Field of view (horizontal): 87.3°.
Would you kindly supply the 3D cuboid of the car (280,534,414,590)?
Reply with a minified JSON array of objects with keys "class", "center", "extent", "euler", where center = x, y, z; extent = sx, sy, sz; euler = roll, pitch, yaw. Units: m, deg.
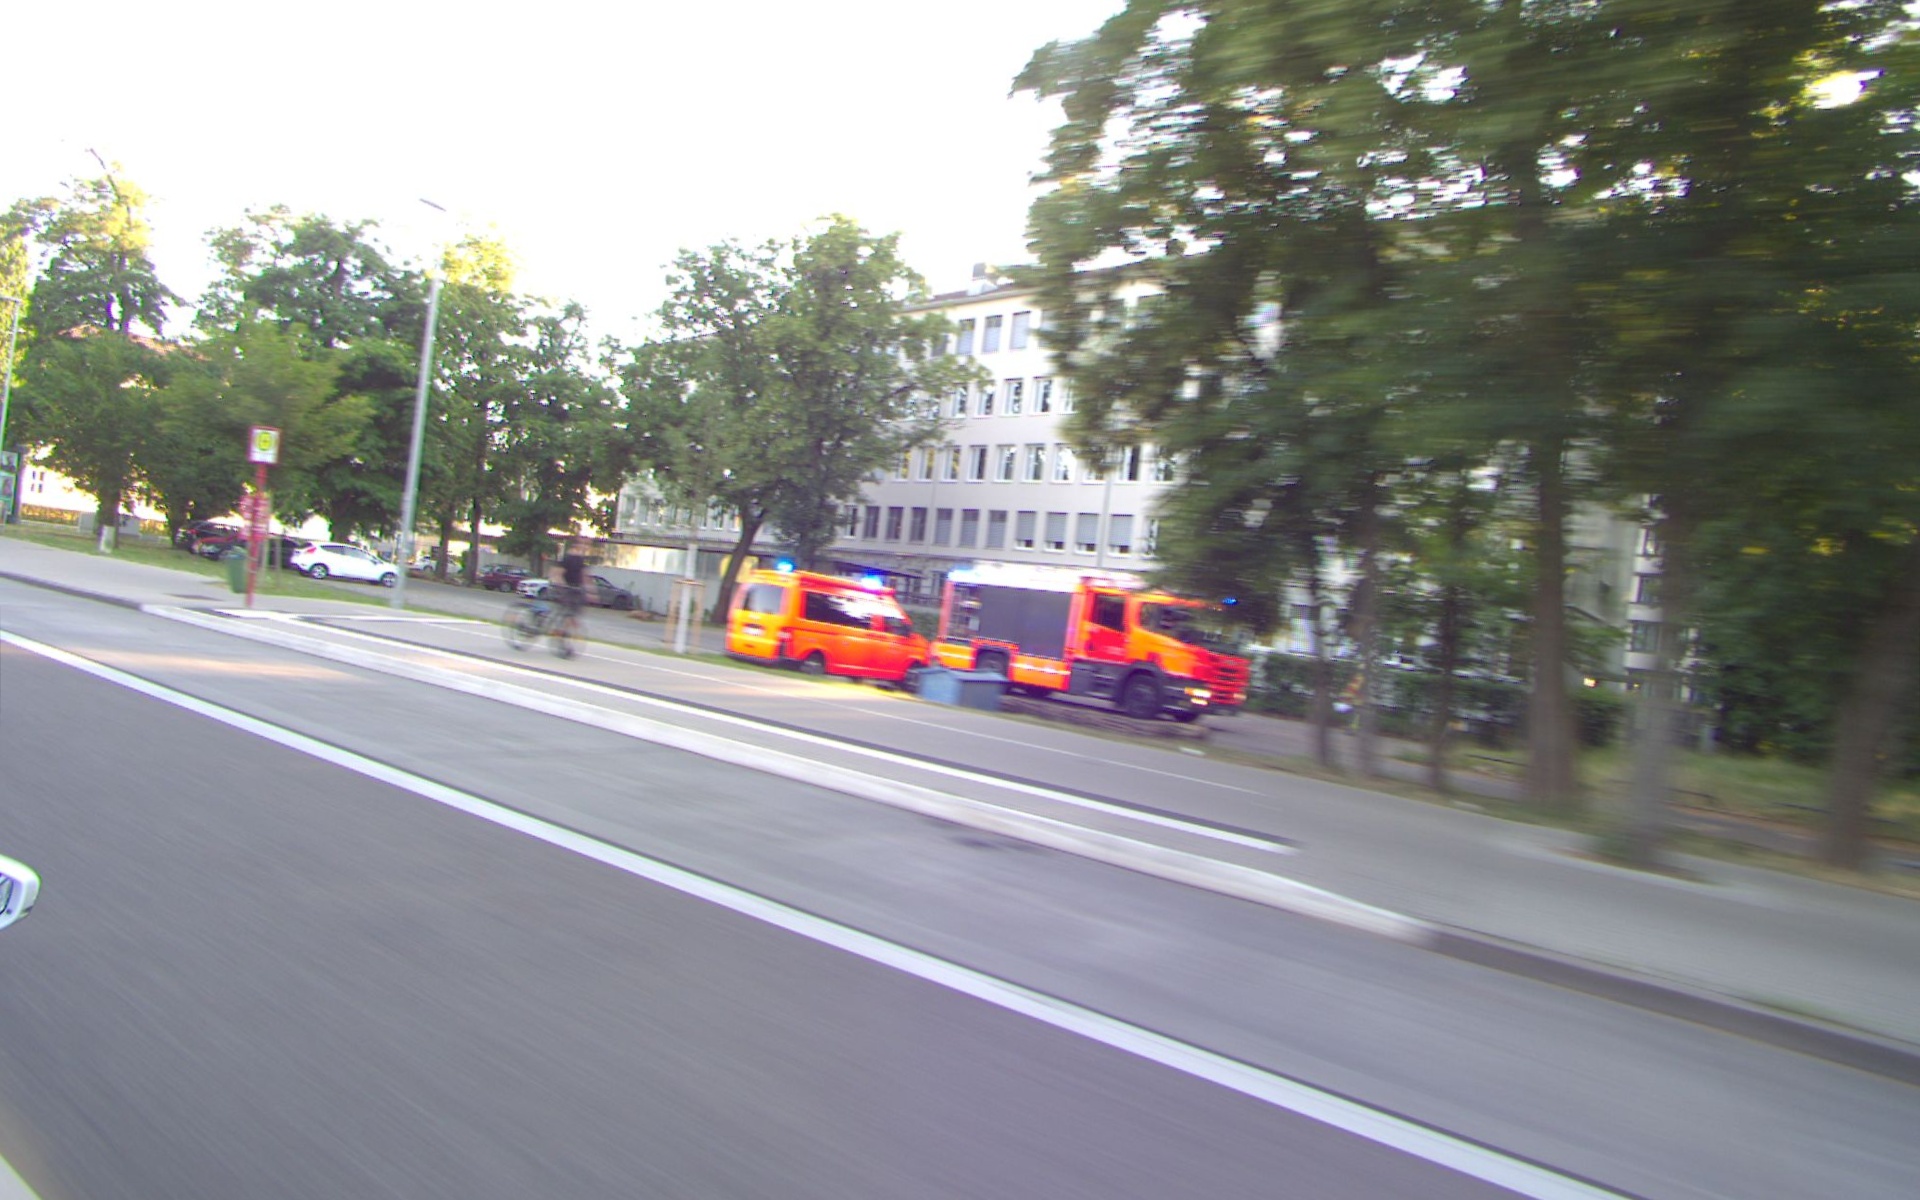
[{"class":"car","center":[-24.157,-1.471,39.756],"extent":[1.883,1.555,3.988],"euler":[6,-2,38]}]

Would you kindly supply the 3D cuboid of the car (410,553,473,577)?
[{"class":"car","center":[-40.931,-2.747,79.433],"extent":[1.794,1.358,3.984],"euler":[6,-2,40]}]

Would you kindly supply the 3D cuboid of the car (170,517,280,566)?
[{"class":"car","center":[-36.105,-2.872,49.476],"extent":[1.809,1.713,3.898],"euler":[6,-2,39]}]

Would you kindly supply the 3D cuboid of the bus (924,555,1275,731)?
[{"class":"bus","center":[3.152,0.914,24.558],"extent":[7.855,3.233,2.985],"euler":[6,-2,42]}]

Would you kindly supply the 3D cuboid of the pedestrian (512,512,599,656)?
[{"class":"pedestrian","center":[-6.112,-0.234,15.200],"extent":[0.684,2.037,0.724],"euler":[7,-1,32]}]

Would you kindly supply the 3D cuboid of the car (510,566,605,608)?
[{"class":"car","center":[-20.447,-0.650,51.164],"extent":[1.808,1.492,3.984],"euler":[6,-3,41]}]

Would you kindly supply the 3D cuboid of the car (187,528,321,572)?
[{"class":"car","center":[-31.648,-2.225,45.218],"extent":[1.872,1.466,4.566],"euler":[4,-1,37]}]

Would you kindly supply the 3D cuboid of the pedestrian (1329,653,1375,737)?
[{"class":"pedestrian","center":[10.070,2.450,25.853],"extent":[0.770,2.037,0.762],"euler":[7,-1,32]}]

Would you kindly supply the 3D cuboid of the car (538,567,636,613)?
[{"class":"car","center":[-18.411,-0.477,49.730],"extent":[1.888,1.635,3.982],"euler":[5,-3,43]}]

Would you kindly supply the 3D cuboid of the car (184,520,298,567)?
[{"class":"car","center":[-33.895,-2.631,47.497],"extent":[1.760,1.580,3.983],"euler":[7,-1,41]}]

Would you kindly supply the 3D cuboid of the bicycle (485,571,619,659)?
[{"class":"bicycle","center":[-6.194,0.220,15.248],"extent":[1.936,1.112,0.831],"euler":[6,1,31]}]

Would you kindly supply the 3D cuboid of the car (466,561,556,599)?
[{"class":"car","center":[-24.436,-1.075,54.824],"extent":[1.875,1.458,3.986],"euler":[6,-2,39]}]

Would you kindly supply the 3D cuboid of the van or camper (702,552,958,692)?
[{"class":"van or camper","center":[-2.604,0.538,21.143],"extent":[2.264,2.270,4.808],"euler":[6,-2,43]}]
